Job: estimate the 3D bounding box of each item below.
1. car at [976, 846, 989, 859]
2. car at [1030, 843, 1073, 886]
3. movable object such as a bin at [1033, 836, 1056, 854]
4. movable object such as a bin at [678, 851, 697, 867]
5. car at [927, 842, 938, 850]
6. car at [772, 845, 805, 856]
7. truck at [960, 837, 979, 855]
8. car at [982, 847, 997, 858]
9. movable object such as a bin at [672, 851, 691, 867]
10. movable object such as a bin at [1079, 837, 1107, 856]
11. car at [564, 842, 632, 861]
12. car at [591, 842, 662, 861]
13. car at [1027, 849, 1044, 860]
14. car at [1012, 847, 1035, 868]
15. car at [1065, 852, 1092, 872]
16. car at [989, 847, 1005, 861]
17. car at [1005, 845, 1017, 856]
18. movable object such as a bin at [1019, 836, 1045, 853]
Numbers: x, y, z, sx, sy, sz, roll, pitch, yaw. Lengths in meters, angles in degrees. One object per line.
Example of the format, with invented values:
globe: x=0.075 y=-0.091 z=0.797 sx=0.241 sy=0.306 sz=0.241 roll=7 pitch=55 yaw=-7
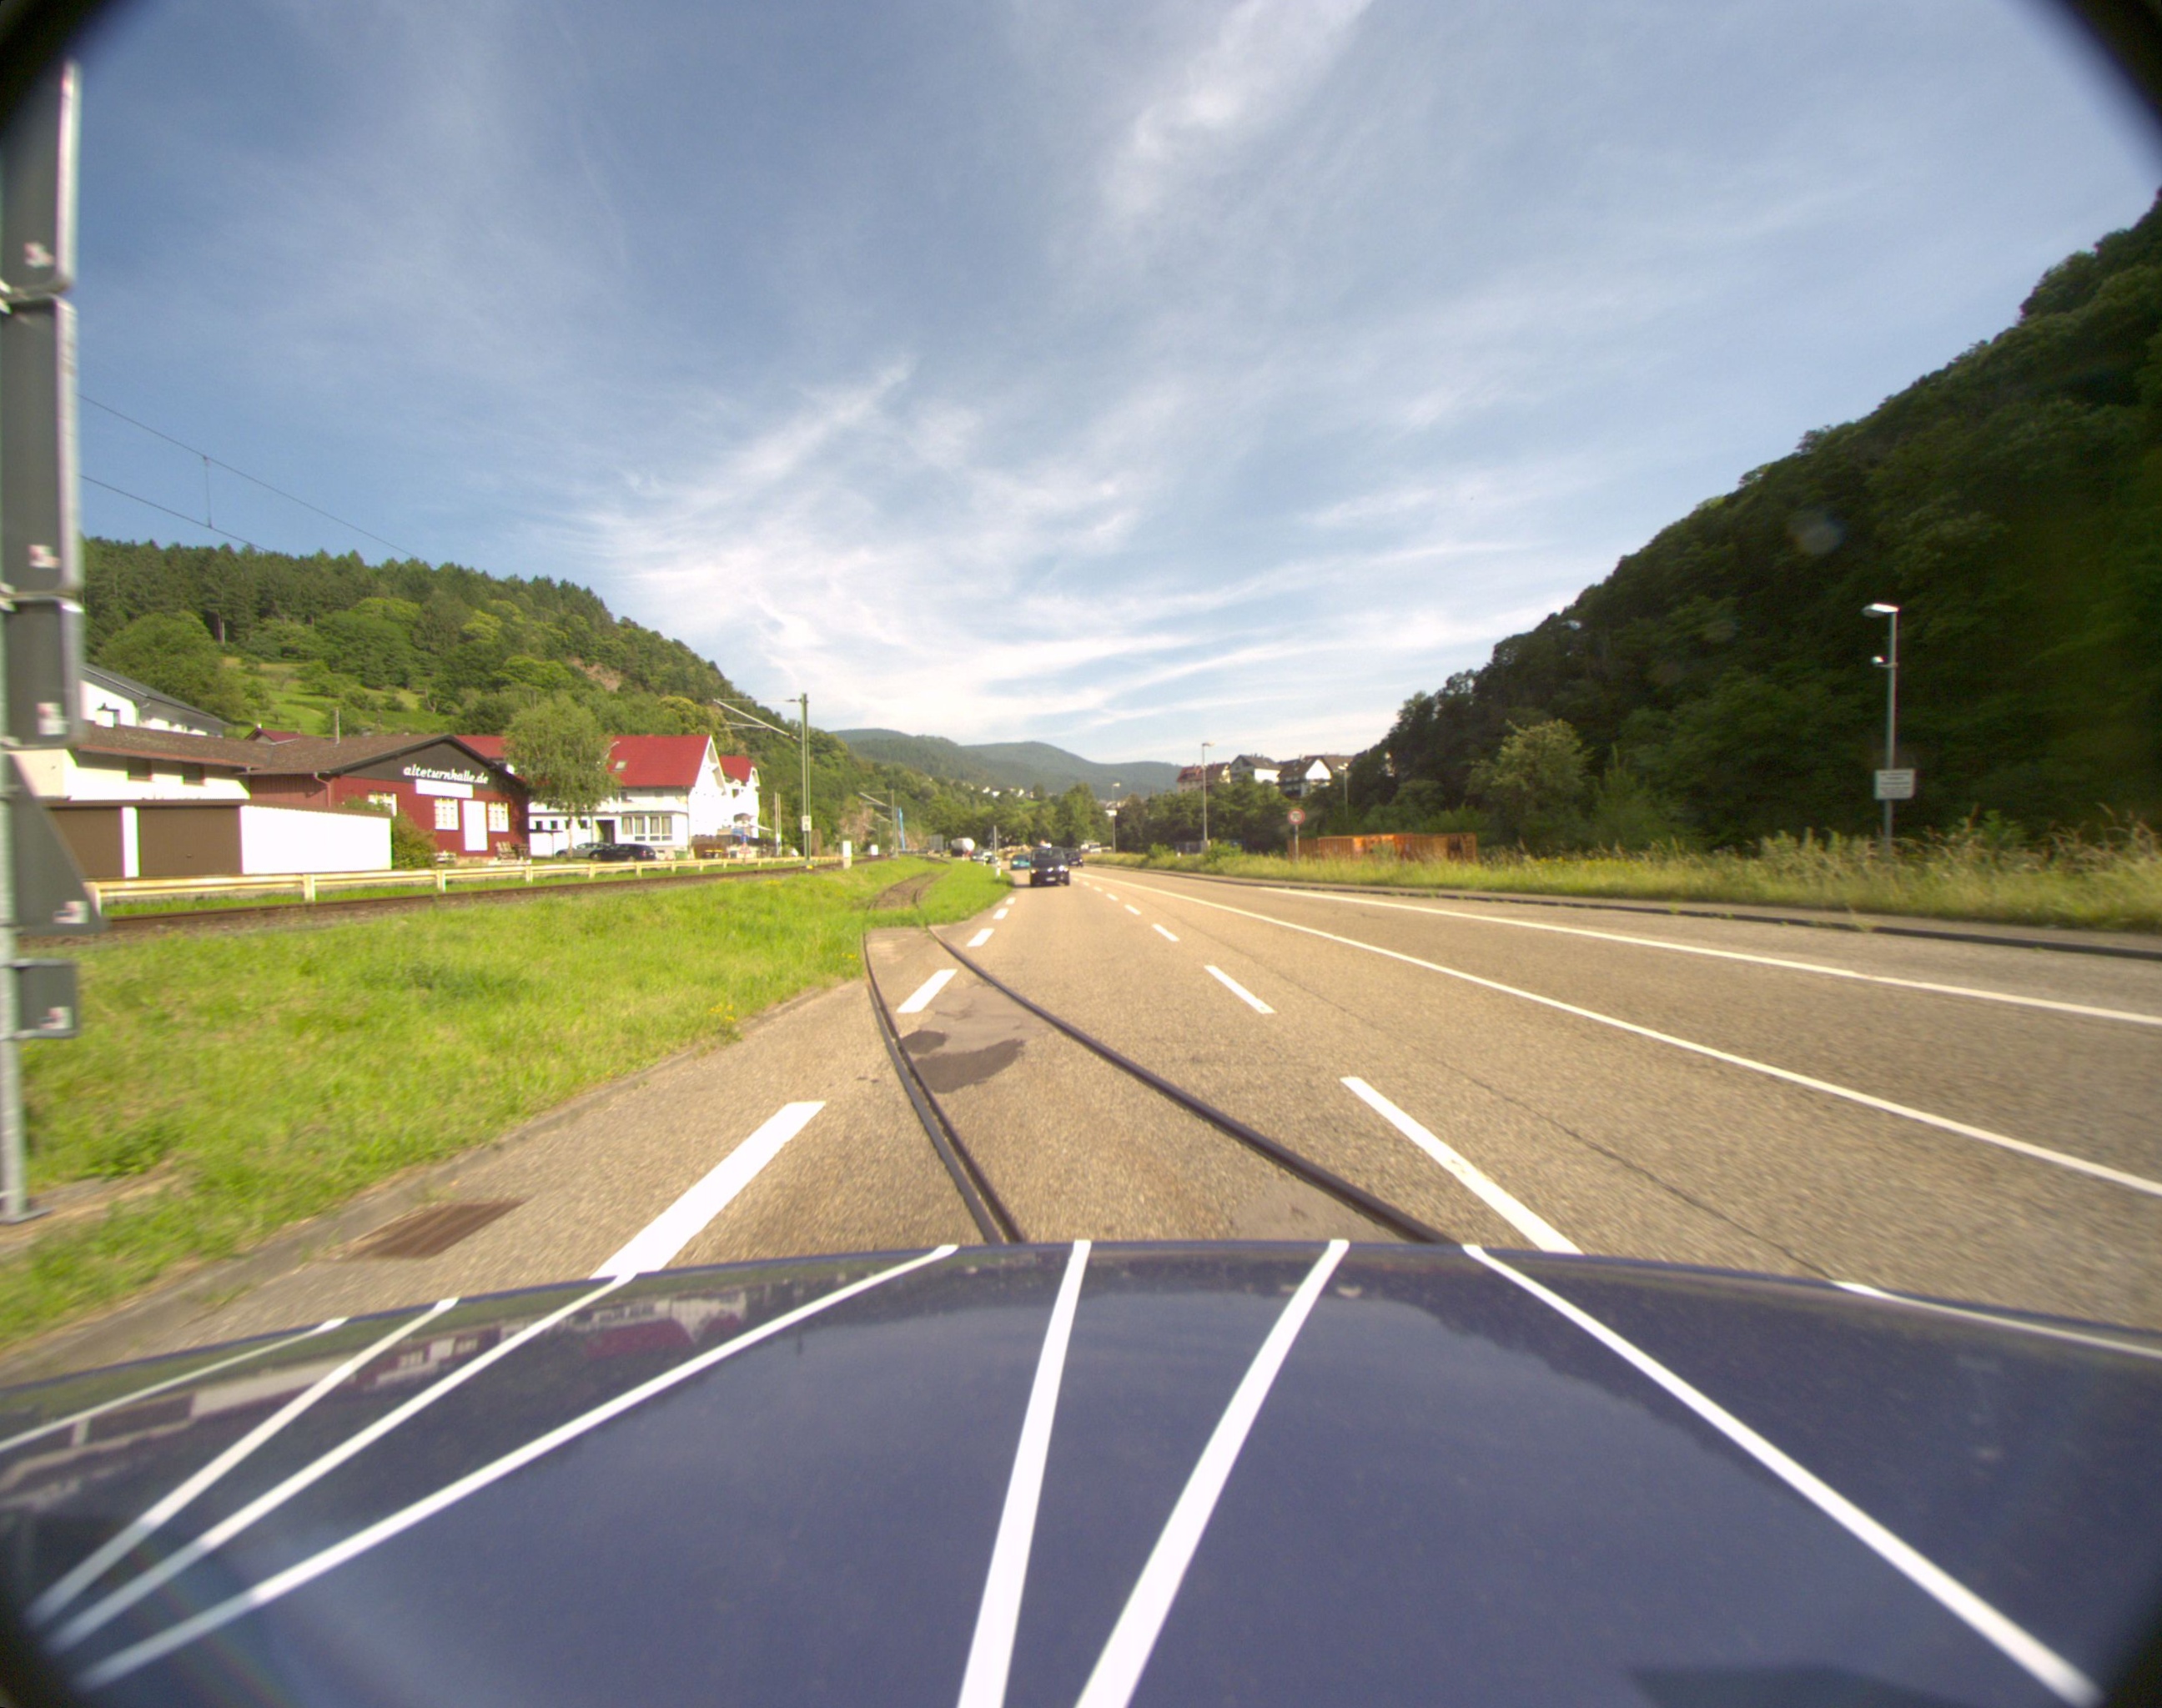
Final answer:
car: x=-16.615 y=-0.247 z=127.844 sx=2.000 sy=2.002 sz=3.996 roll=0 pitch=0 yaw=-10
car: x=-1.491 y=0.538 z=37.784 sx=1.999 sy=2.001 sz=4.000 roll=-1 pitch=-1 yaw=-3
movable object such as a bin: x=-8.326 y=-2.065 z=173.440 sx=2.734 sy=3.924 sz=7.214 roll=0 pitch=1 yaw=-23
movable object such as a bin: x=-27.479 y=0.332 z=53.085 sx=0.810 sy=1.044 sz=0.911 roll=-3 pitch=1 yaw=-6
car: x=-36.049 y=-1.977 z=184.058 sx=2.002 sy=2.002 sz=3.993 roll=0 pitch=0 yaw=-19
car: x=-39.192 y=-0.468 z=101.956 sx=4.002 sy=1.521 sz=1.997 roll=0 pitch=0 yaw=-15
truck: x=-24.915 y=-1.684 z=169.018 sx=2.760 sy=3.813 sz=14.542 roll=-3 pitch=1 yaw=-14
car: x=-17.090 y=-0.314 z=141.958 sx=2.001 sy=2.002 sz=3.994 roll=0 pitch=0 yaw=-17
movable object such as a bin: x=-27.353 y=0.323 z=52.047 sx=0.810 sy=1.044 sz=0.911 roll=-3 pitch=1 yaw=-6
movable object such as a bin: x=2.365 y=-1.508 z=157.229 sx=2.911 sy=3.924 sz=7.792 roll=0 pitch=1 yaw=-23
car: x=-36.953 y=-0.165 z=58.182 sx=3.999 sy=1.368 sz=1.824 roll=1 pitch=0 yaw=-7
car: x=-33.239 y=-0.177 z=55.653 sx=3.998 sy=1.368 sz=1.825 roll=1 pitch=0 yaw=-4
car: x=-6.140 y=0.070 z=101.644 sx=1.784 sy=1.340 sz=4.507 roll=-4 pitch=1 yaw=-8
car: x=-5.570 y=0.336 z=73.680 sx=2.000 sy=2.002 sz=3.997 roll=0 pitch=0 yaw=-8
car: x=-0.222 y=0.697 z=67.720 sx=1.853 sy=1.576 sz=4.313 roll=-3 pitch=0 yaw=-6
car: x=-11.986 y=0.021 z=108.234 sx=2.000 sy=2.002 sz=3.996 roll=0 pitch=0 yaw=-11
car: x=-11.207 y=-0.608 z=121.451 sx=1.729 sy=1.615 sz=3.793 roll=-3 pitch=1 yaw=-7
movable object such as a bin: x=-11.770 y=-2.192 z=181.338 sx=2.711 sy=3.924 sz=9.968 roll=0 pitch=1 yaw=-24
